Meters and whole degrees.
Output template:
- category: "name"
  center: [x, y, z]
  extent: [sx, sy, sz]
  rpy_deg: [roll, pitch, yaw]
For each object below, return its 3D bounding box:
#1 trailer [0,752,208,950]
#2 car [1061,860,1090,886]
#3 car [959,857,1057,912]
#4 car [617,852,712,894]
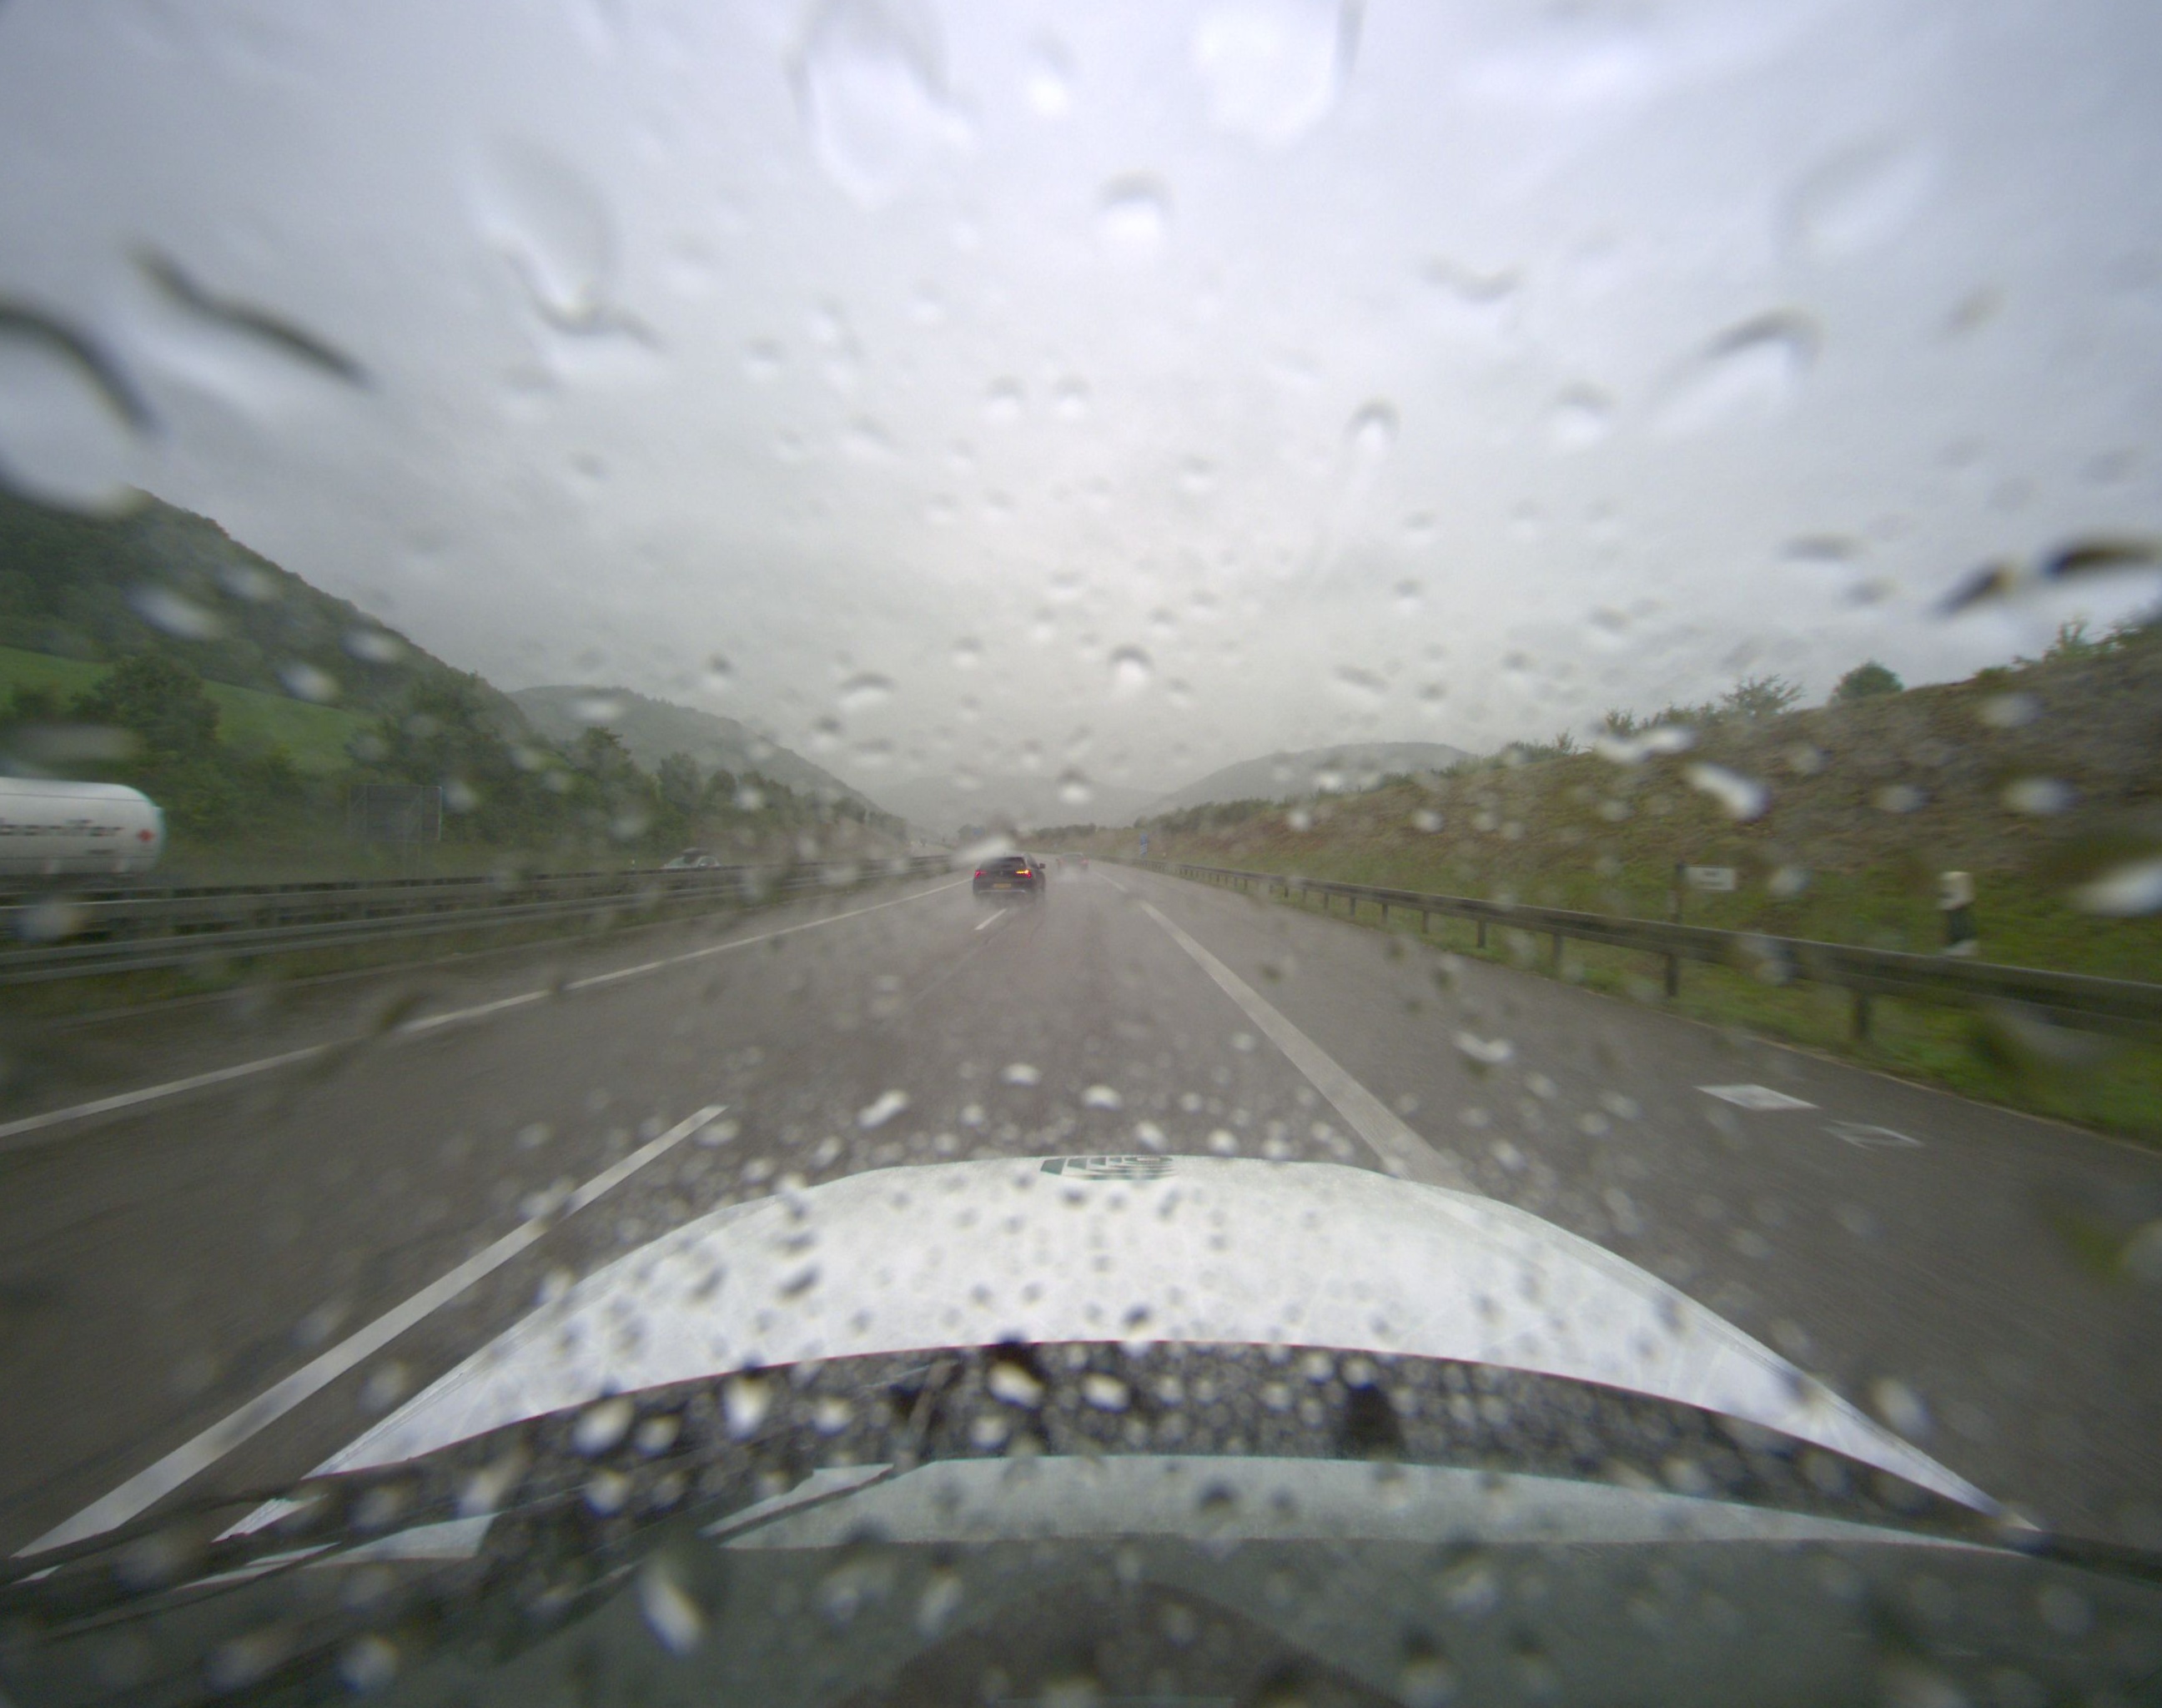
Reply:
- category: "trailer"
  center: [-22.779, -0.029, 13.515]
  extent: [2.923, 3.902, 12.568]
  rpy_deg: [-1, 0, 0]
- category: "car"
  center: [-0.387, 1.135, 49.695]
  extent: [1.674, 1.472, 3.812]
  rpy_deg: [1, -1, -2]
- category: "car"
  center: [-2.123, 0.874, 25.200]
  extent: [2.396, 1.515, 4.786]
  rpy_deg: [1, -1, 2]
- category: "car"
  center: [-18.525, 0.808, 36.454]
  extent: [1.985, 1.734, 4.003]
  rpy_deg: [-1, 0, 3]
